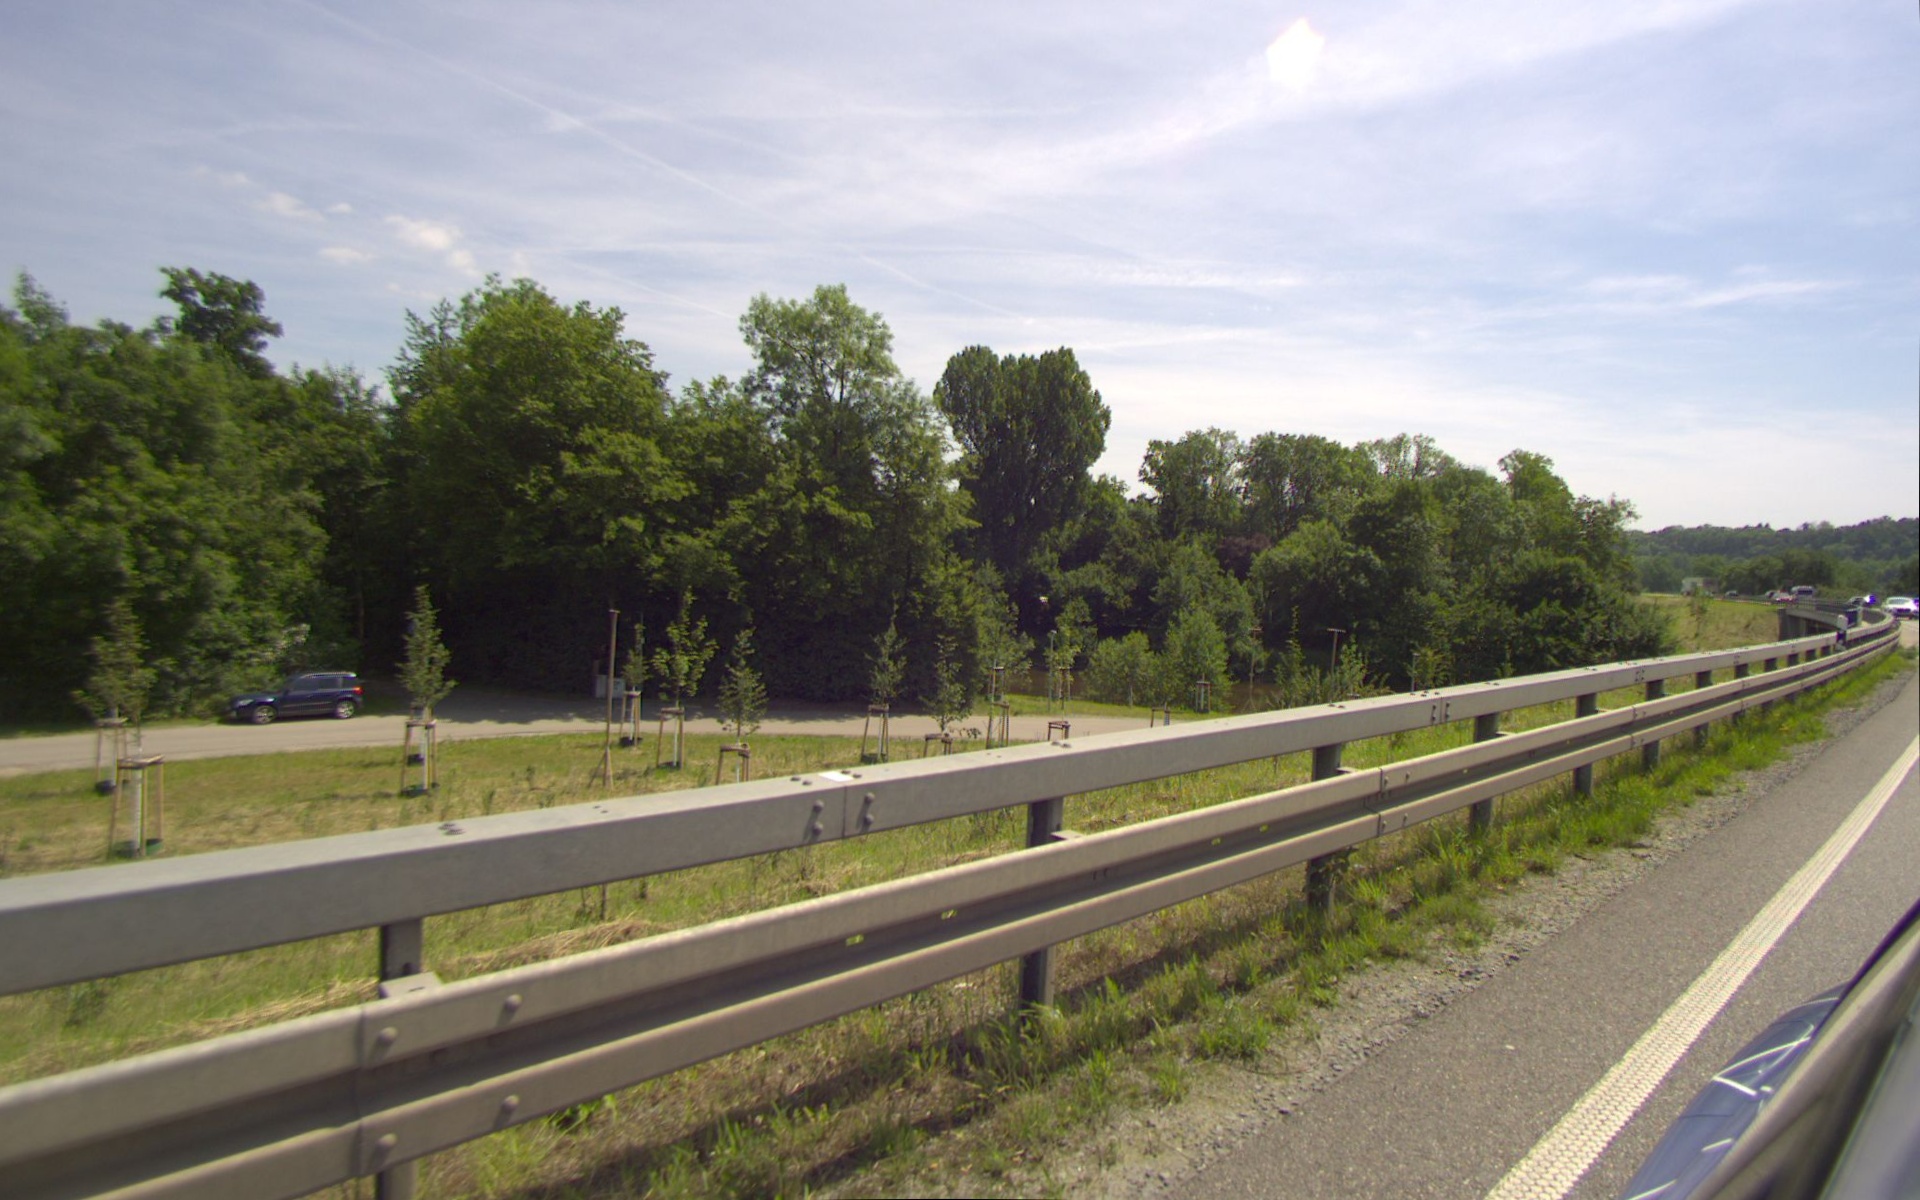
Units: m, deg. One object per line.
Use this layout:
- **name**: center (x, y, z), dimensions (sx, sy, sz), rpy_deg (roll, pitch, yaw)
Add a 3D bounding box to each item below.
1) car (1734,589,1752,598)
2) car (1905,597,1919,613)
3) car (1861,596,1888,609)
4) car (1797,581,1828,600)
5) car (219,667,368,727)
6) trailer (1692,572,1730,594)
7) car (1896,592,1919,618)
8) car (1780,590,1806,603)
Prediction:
- **car**: center (145.075, -1.279, 187.522), dimensions (1.650, 1.475, 3.862), rpy_deg (5, 3, 24)
- **car**: center (93.527, 0.442, 98.514), dimensions (1.717, 1.501, 4.508), rpy_deg (0, 1, 37)
- **car**: center (105.749, 0.309, 117.086), dimensions (1.715, 1.453, 4.559), rpy_deg (0, 1, 35)
- **car**: center (122.993, -1.436, 146.065), dimensions (2.165, 2.591, 5.744), rpy_deg (0, 1, 27)
- **car**: center (-23.992, 3.421, 36.522), dimensions (1.859, 1.702, 4.132), rpy_deg (6, 3, 44)
- **trailer**: center (153.623, -3.406, 207.274), dimensions (2.830, 4.241, 14.384), rpy_deg (0, 0, 23)
- **car**: center (71.448, 0.339, 75.649), dimensions (1.972, 1.811, 3.943), rpy_deg (0, 1, 40)
- **car**: center (113.689, -0.453, 138.194), dimensions (1.963, 1.754, 3.961), rpy_deg (1, 0, 28)
